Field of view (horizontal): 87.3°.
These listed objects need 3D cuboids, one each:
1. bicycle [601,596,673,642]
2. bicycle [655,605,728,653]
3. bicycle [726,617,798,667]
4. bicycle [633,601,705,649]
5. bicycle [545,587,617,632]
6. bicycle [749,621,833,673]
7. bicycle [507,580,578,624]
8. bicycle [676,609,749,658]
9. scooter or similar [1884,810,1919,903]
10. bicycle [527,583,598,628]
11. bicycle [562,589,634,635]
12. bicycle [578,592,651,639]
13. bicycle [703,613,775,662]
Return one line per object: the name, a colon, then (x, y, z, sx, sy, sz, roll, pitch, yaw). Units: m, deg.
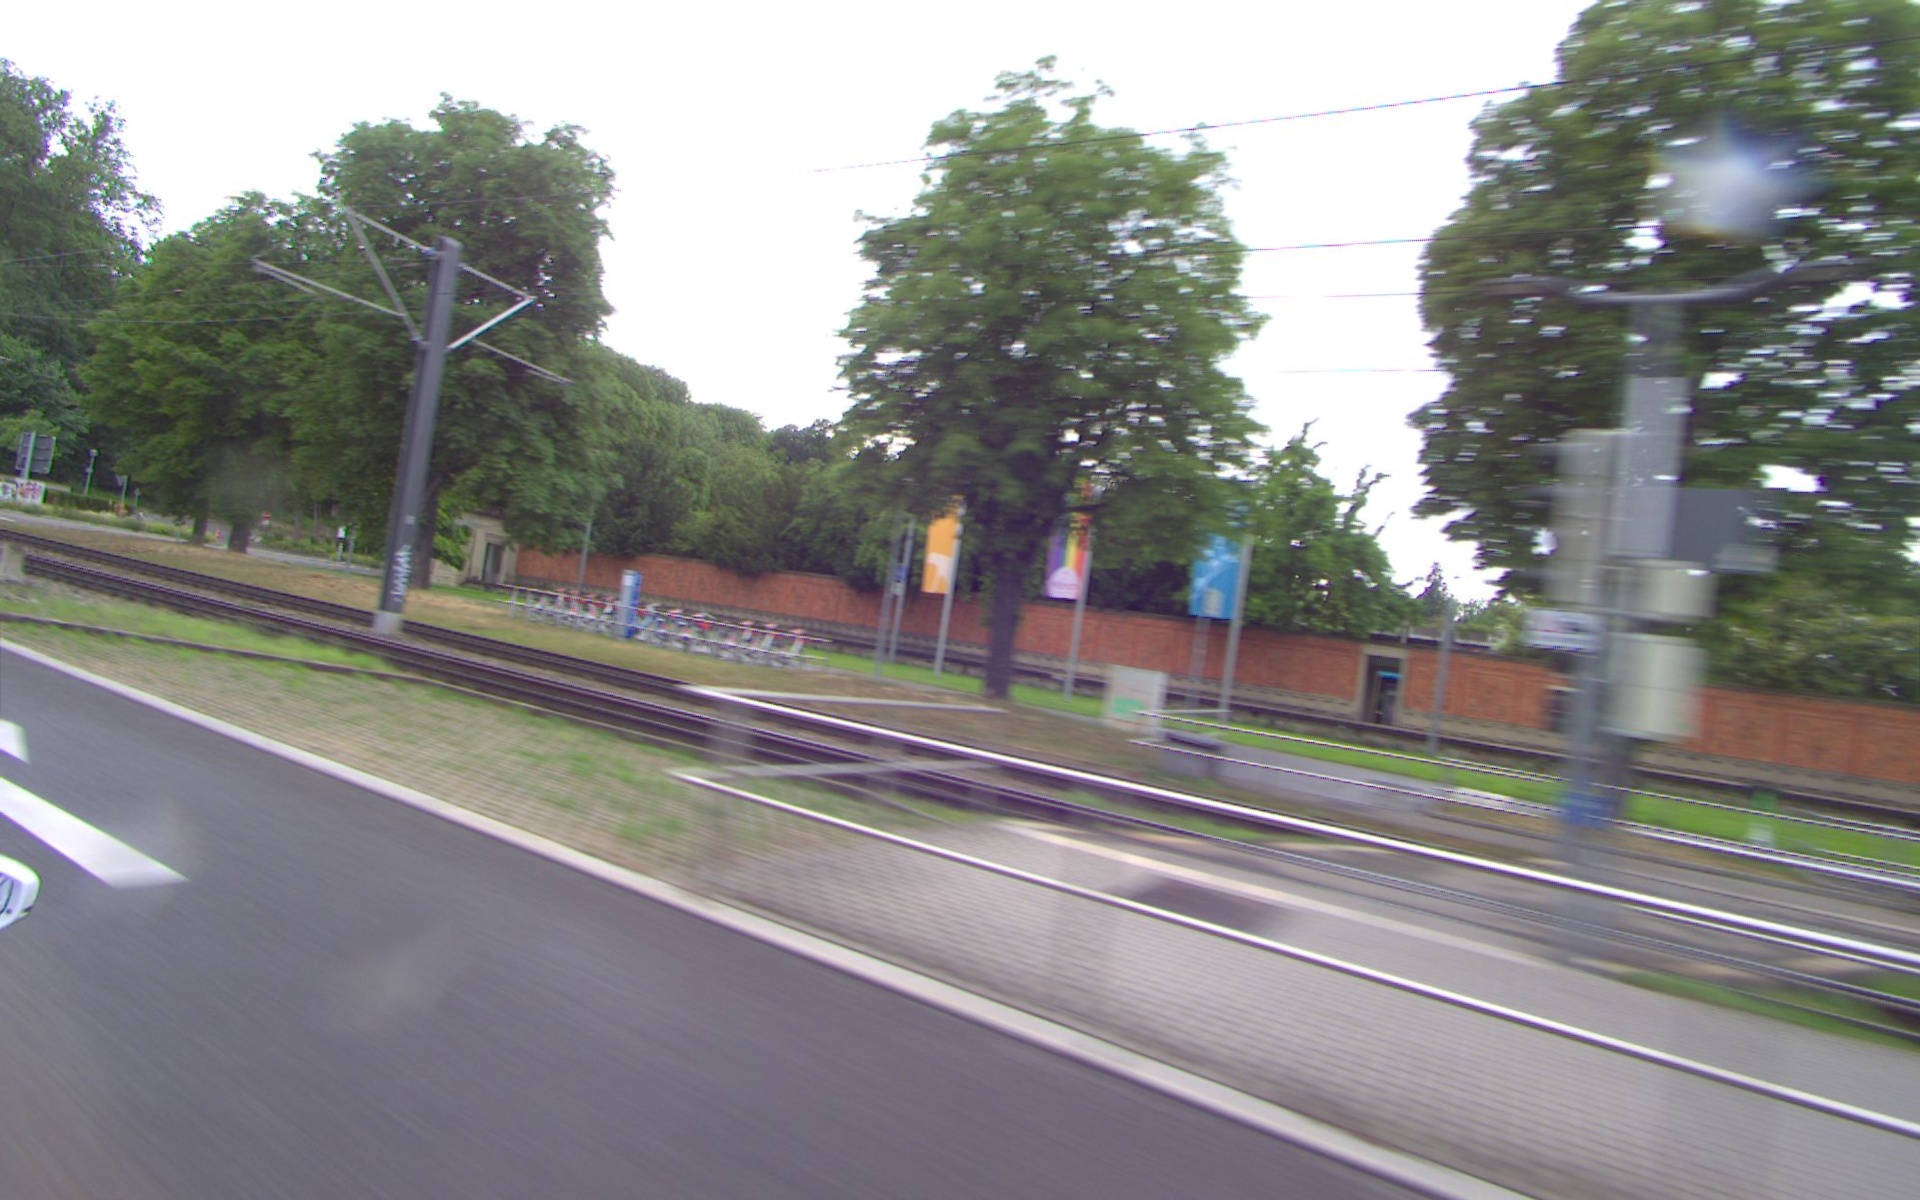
bicycle: (-8.917, 0.541, 27.841, 0.641, 1.043, 1.815, 8, -2, 29)
bicycle: (-7.044, 0.784, 26.461, 0.641, 1.043, 1.815, 8, -2, 29)
bicycle: (-4.953, 1.080, 25.313, 0.641, 1.043, 1.815, 8, -2, 29)
bicycle: (-7.752, 0.674, 26.865, 0.641, 1.046, 1.815, 8, -2, 29)
bicycle: (-10.859, 0.280, 28.878, 0.641, 1.043, 1.815, 8, -2, 29)
bicycle: (-4.150, 1.175, 24.876, 0.677, 1.043, 2.229, 8, -2, 29)
bicycle: (-12.331, 0.079, 29.769, 0.641, 1.043, 1.815, 8, -2, 29)
bicycle: (-6.410, 0.879, 26.171, 0.641, 1.043, 1.852, 8, -2, 29)
scooter or similar: (13.523, 3.608, 14.078, 0.424, 1.149, 1.547, 8, -2, 30)
bicycle: (-11.574, 0.179, 29.356, 0.641, 1.043, 1.815, 8, -2, 29)
bicycle: (-10.186, 0.361, 28.369, 0.641, 1.043, 1.815, 8, -2, 29)
bicycle: (-9.592, 0.442, 27.998, 0.641, 1.043, 1.839, 8, -2, 29)
bicycle: (-5.659, 0.987, 25.816, 0.641, 1.043, 1.815, 8, -2, 29)
